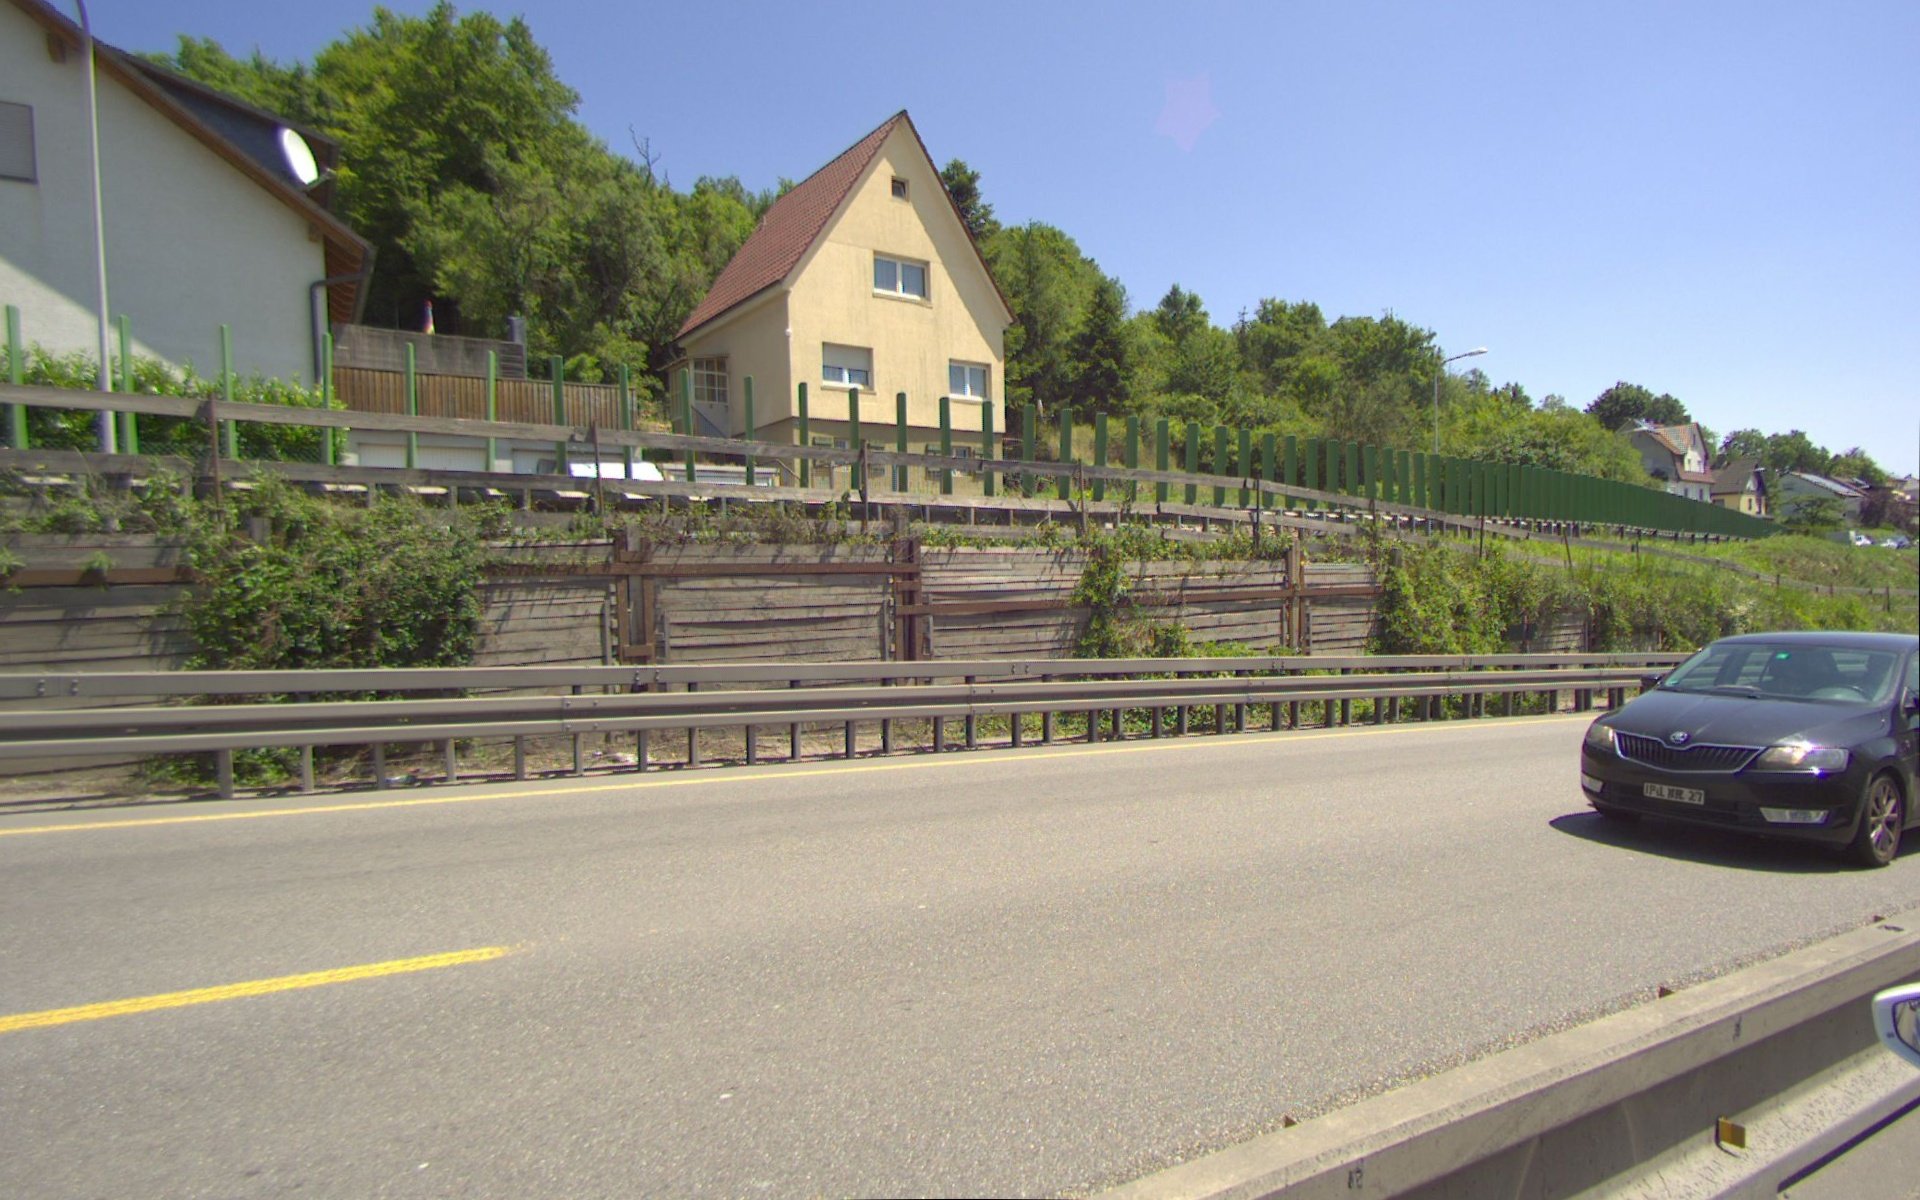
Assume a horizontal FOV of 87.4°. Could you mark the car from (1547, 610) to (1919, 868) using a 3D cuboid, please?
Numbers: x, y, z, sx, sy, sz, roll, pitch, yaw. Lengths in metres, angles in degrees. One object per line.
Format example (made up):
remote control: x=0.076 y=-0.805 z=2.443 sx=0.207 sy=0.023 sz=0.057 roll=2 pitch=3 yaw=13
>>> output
car: x=6.599 y=0.915 z=7.514 sx=4.610 sy=1.465 sz=1.600 roll=2 pitch=-4 yaw=-27

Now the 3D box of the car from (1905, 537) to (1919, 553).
car: x=97.839 y=-5.572 z=102.215 sx=3.968 sy=1.337 sz=1.976 roll=1 pitch=3 yaw=-40

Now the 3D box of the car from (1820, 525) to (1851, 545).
car: x=72.640 y=-5.411 z=83.355 sx=1.709 sy=1.417 sz=3.778 roll=3 pitch=1 yaw=44
